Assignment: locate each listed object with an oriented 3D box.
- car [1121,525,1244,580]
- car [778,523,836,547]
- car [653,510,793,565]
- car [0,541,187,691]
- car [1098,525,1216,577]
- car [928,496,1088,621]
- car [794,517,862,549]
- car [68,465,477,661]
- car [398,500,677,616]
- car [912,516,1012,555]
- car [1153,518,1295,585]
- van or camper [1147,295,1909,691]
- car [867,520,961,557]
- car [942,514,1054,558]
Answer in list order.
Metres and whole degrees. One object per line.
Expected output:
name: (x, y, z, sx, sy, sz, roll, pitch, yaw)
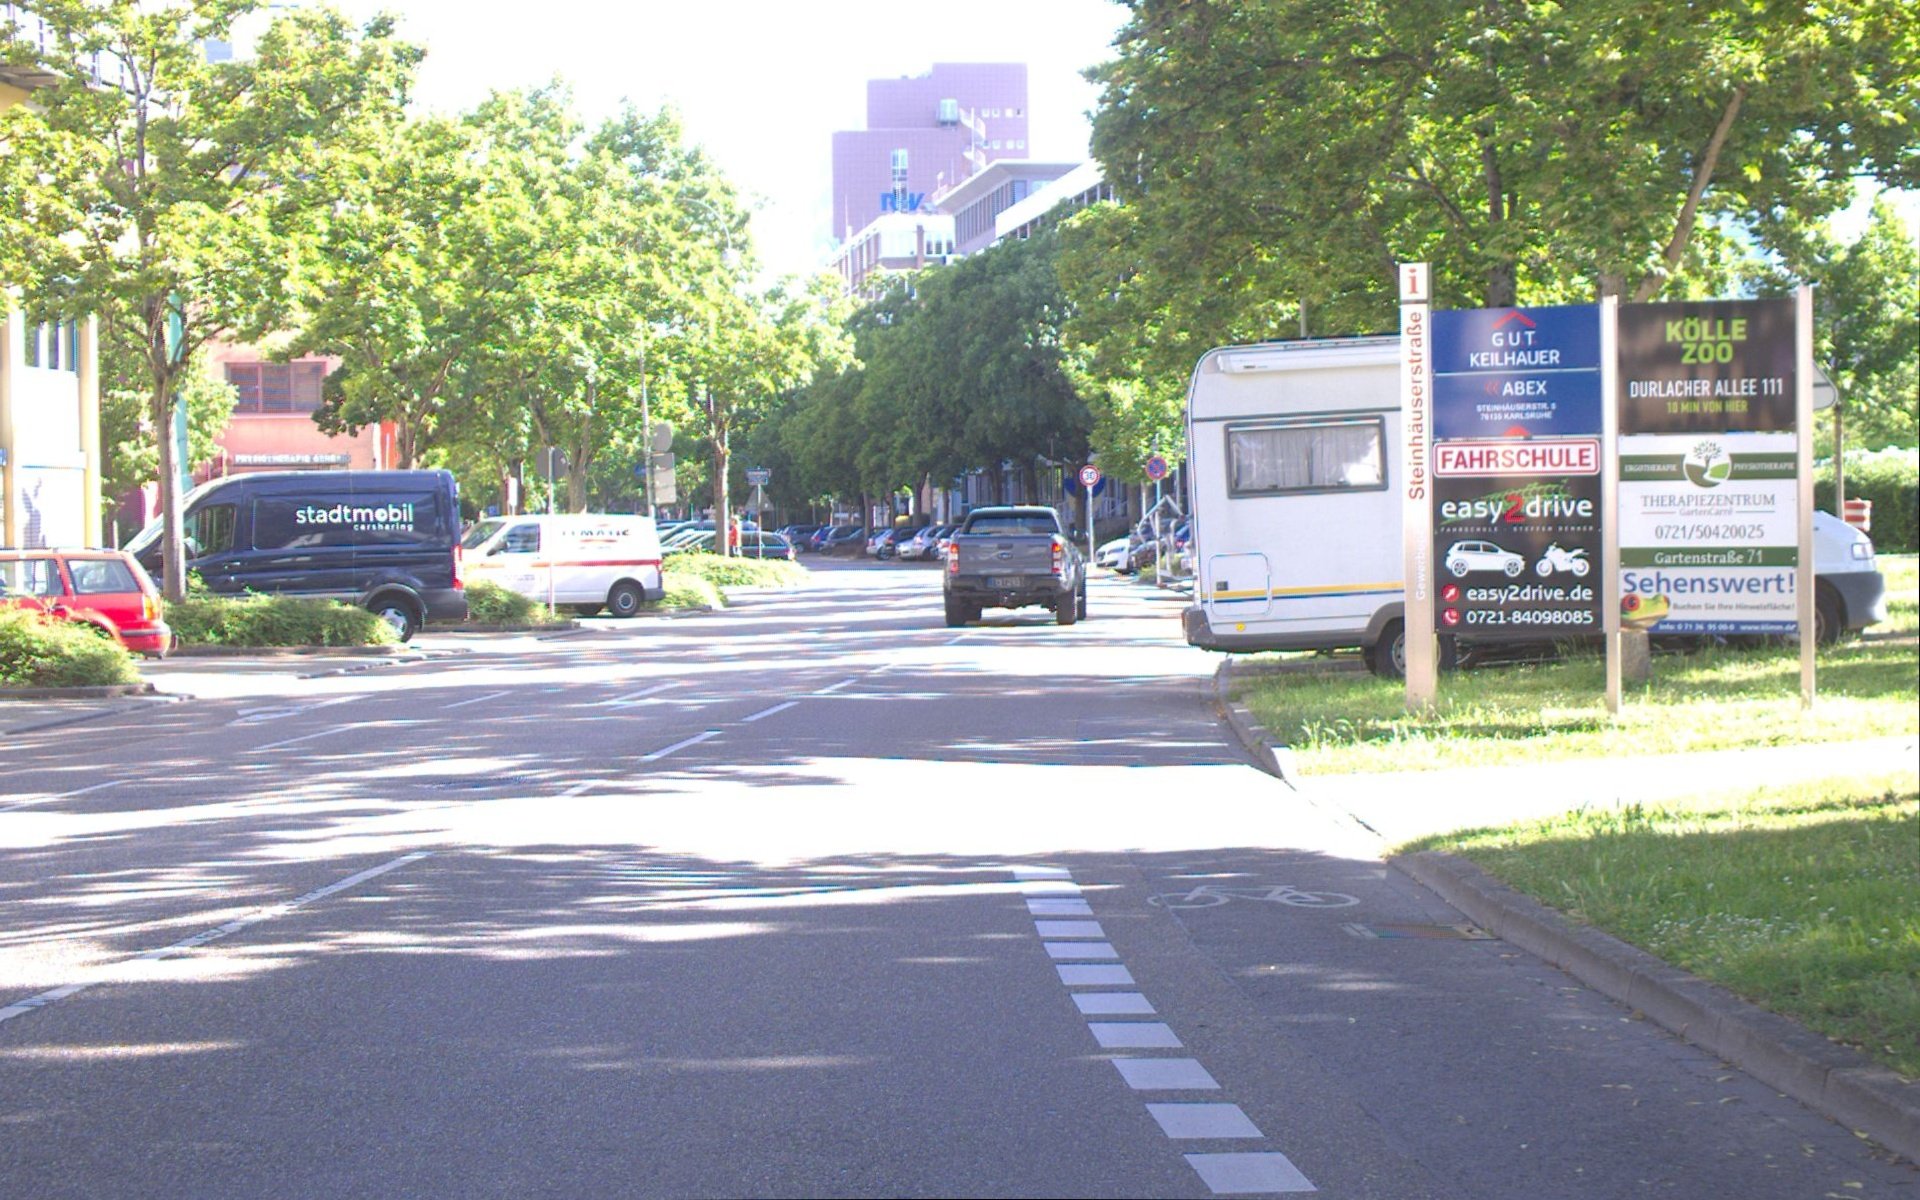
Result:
car: (5.996, -1.296, 92.859, 3.244, 1.273, 1.516, -3, 1, 3)
car: (-8.730, -3.704, 196.134, 3.213, 1.224, 1.263, -3, 1, -5)
car: (-6.751, -1.783, 98.017, 3.883, 1.360, 1.410, -3, 1, -5)
car: (-10.750, 0.190, 37.152, 4.406, 1.547, 1.922, -2, 1, -21)
car: (5.550, -1.397, 97.090, 3.244, 1.273, 1.516, -3, 1, 3)
car: (0.810, -0.693, 54.005, 2.133, 1.829, 4.940, -1, 2, 5)
car: (-6.655, -3.374, 173.174, 3.278, 1.392, 1.517, -3, 1, -5)
car: (-9.563, -0.545, 47.838, 5.259, 2.537, 1.986, -2, 1, -21)
car: (-8.094, -0.824, 65.961, 4.884, 2.076, 1.986, -2, 1, -31)
car: (0.064, -2.683, 142.394, 3.946, 1.392, 1.517, -3, 1, -5)
car: (6.269, -1.167, 81.778, 3.244, 1.392, 1.516, -3, 1, 3)
van or camper: (4.732, -0.898, 29.611, 6.079, 2.918, 2.575, -3, 1, 3)
car: (-2.027, -2.707, 151.281, 3.946, 1.392, 1.517, -3, 1, -5)
car: (1.402, -2.388, 127.323, 3.946, 1.392, 1.517, -3, 1, -5)
